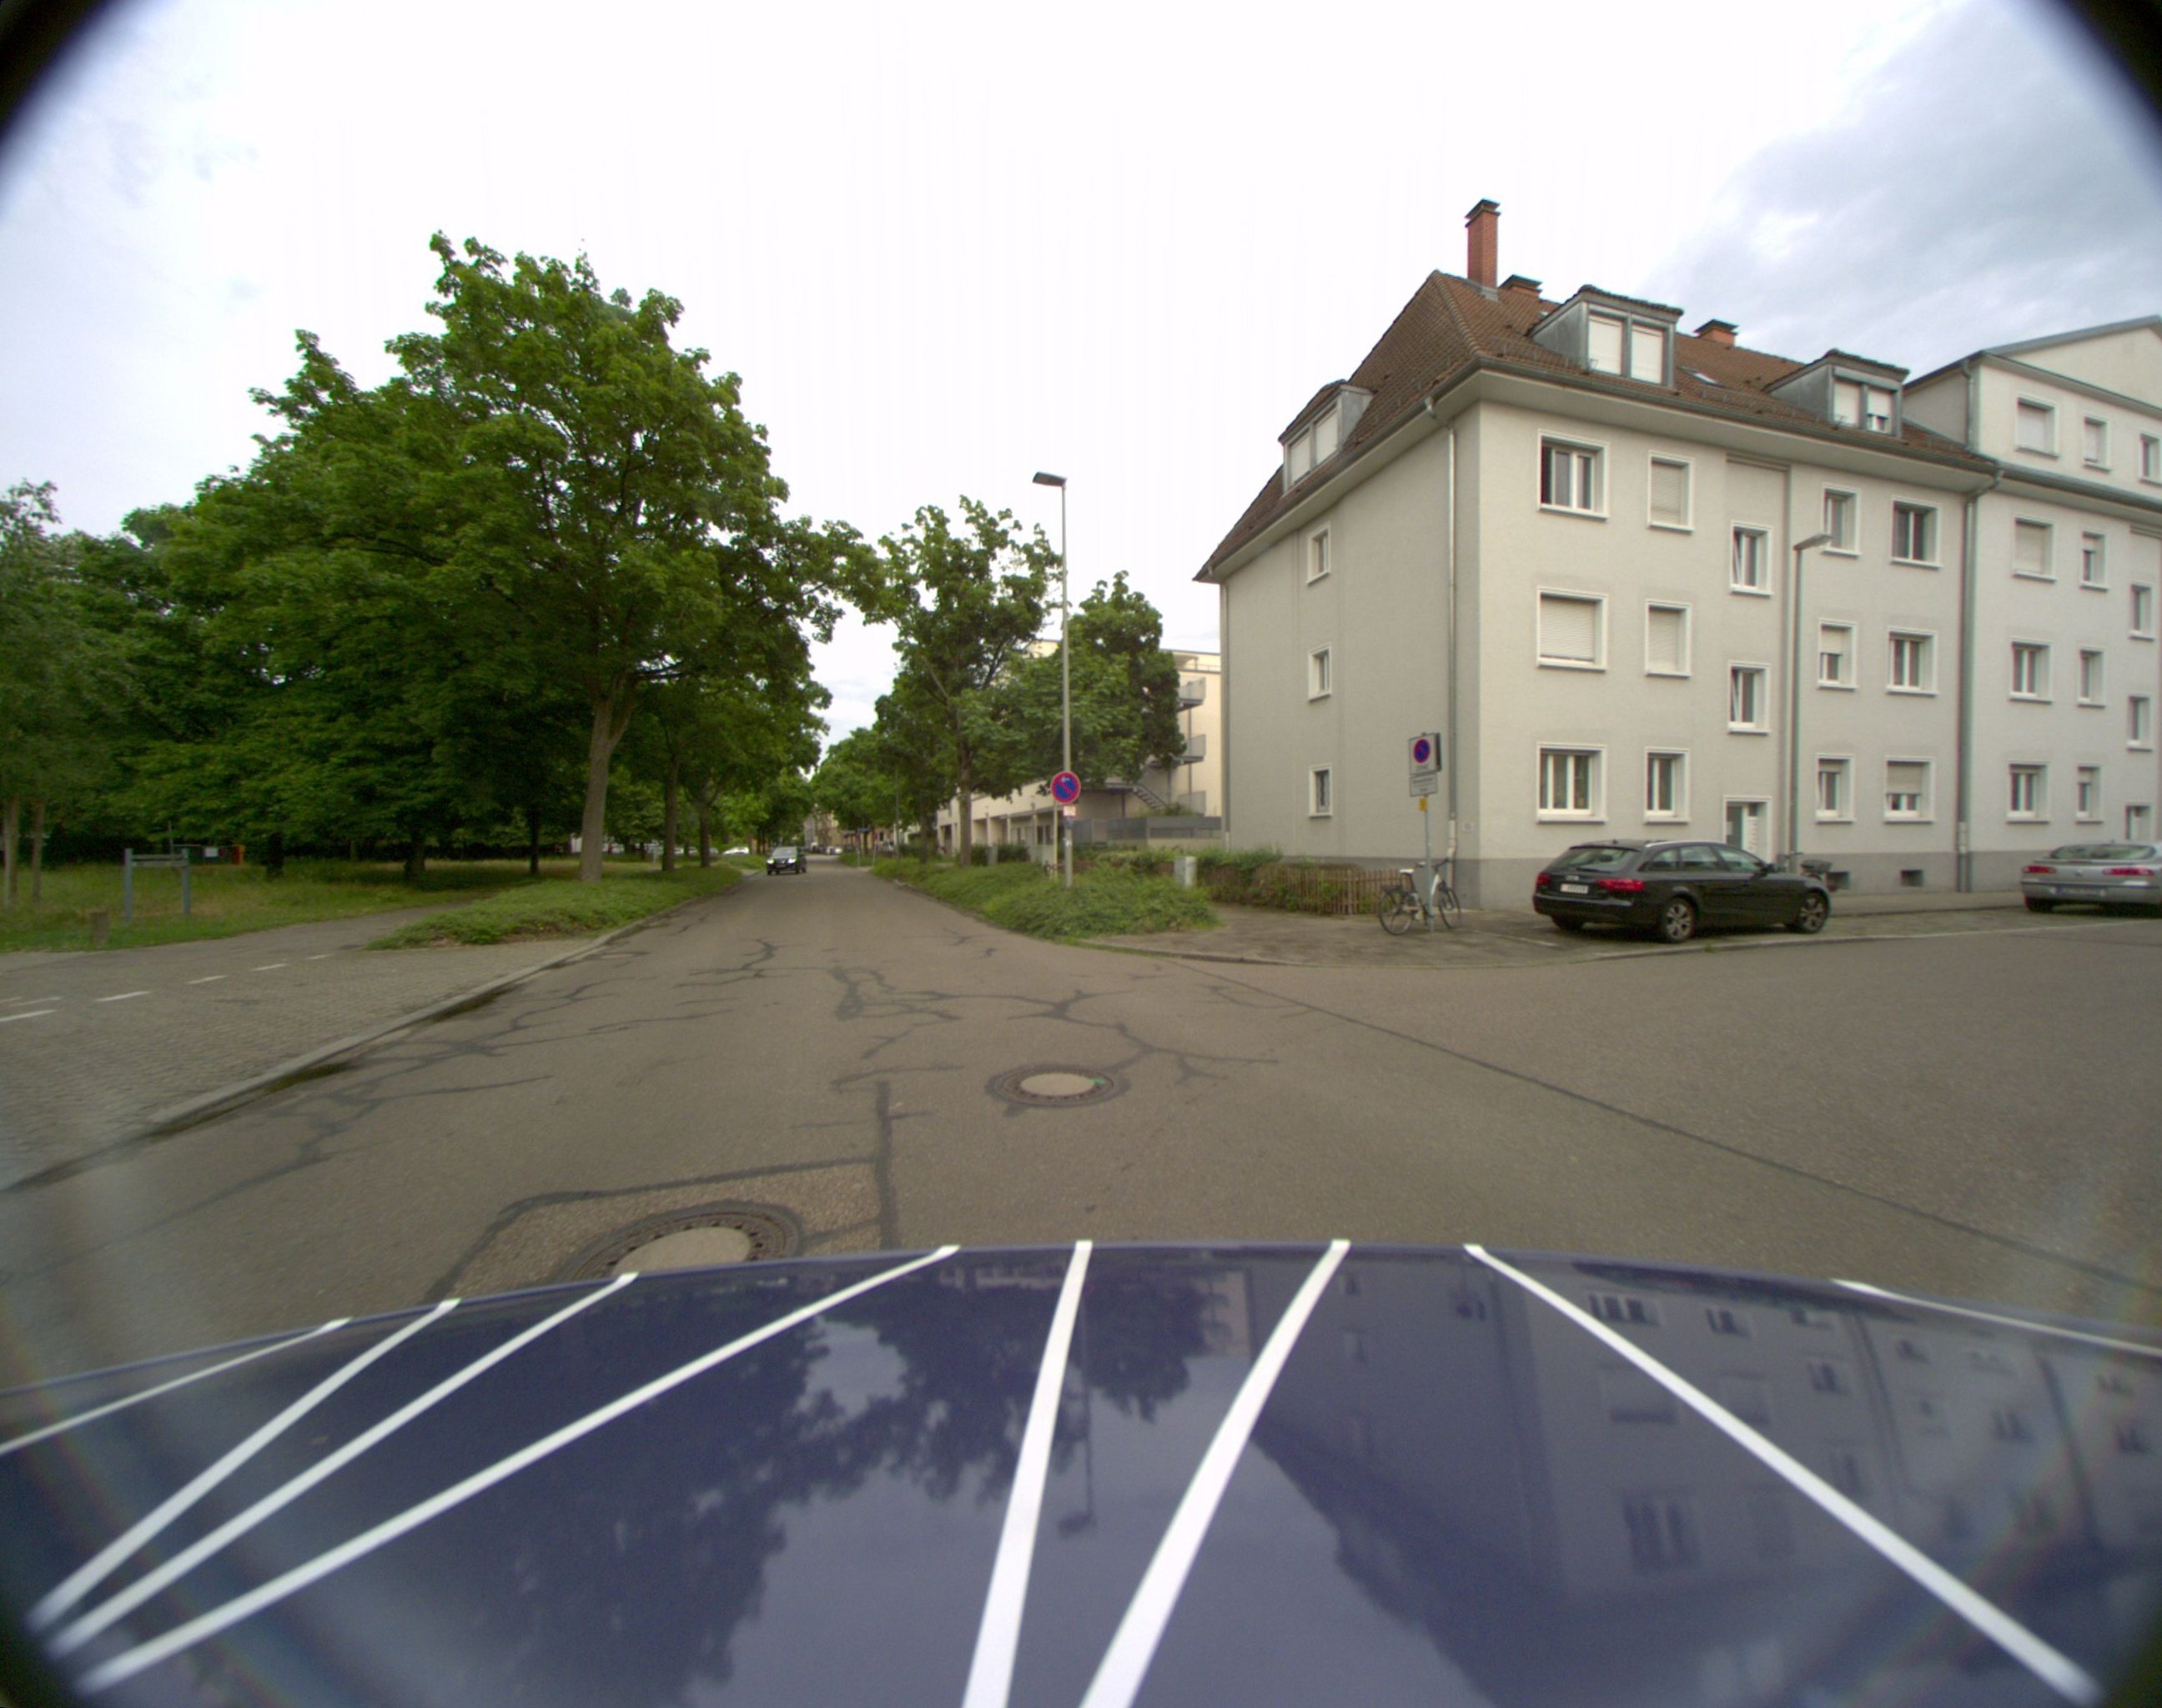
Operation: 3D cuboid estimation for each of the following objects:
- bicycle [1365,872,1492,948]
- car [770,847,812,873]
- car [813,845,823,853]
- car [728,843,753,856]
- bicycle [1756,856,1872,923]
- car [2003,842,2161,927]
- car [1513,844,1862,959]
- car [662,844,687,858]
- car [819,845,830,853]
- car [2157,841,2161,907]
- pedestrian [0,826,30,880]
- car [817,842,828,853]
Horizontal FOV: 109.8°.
[{"bbox_3d":[5.390,0.850,11.805,1.890,0.999,0.568,-3,4,-17],"label":"bicycle"},{"bbox_3d":[-17.579,0.349,46.180,2.001,1.477,4.533,0,1,-16],"label":"car"},{"bbox_3d":[-59.044,-1.128,170.636,1.788,1.849,3.654,0,1,-25],"label":"car"},{"bbox_3d":[-52.978,-0.698,118.286,3.318,1.913,1.807,-2,1,-27],"label":"car"},{"bbox_3d":[14.289,0.663,14.830,1.896,1.194,0.749,0,3,-17],"label":"bicycle"},{"bbox_3d":[20.581,0.513,14.857,4.434,1.454,1.735,-1,2,-19],"label":"car"},{"bbox_3d":[9.215,0.600,11.590,4.729,1.454,1.863,-1,2,-19],"label":"car"},{"bbox_3d":[-61.202,-0.434,114.454,3.318,1.913,1.807,-2,1,-27],"label":"car"},{"bbox_3d":[-54.409,-1.081,161.160,1.788,1.754,3.654,0,1,-25],"label":"car"},{"bbox_3d":[26.138,0.441,16.635,4.326,1.454,1.784,-1,2,-19],"label":"car"},{"bbox_3d":[-36.005,-0.032,25.523,0.543,1.788,0.573,0,1,-6],"label":"pedestrian"},{"bbox_3d":[-56.246,-1.401,165.130,1.788,2.399,3.653,0,1,-27],"label":"car"}]
